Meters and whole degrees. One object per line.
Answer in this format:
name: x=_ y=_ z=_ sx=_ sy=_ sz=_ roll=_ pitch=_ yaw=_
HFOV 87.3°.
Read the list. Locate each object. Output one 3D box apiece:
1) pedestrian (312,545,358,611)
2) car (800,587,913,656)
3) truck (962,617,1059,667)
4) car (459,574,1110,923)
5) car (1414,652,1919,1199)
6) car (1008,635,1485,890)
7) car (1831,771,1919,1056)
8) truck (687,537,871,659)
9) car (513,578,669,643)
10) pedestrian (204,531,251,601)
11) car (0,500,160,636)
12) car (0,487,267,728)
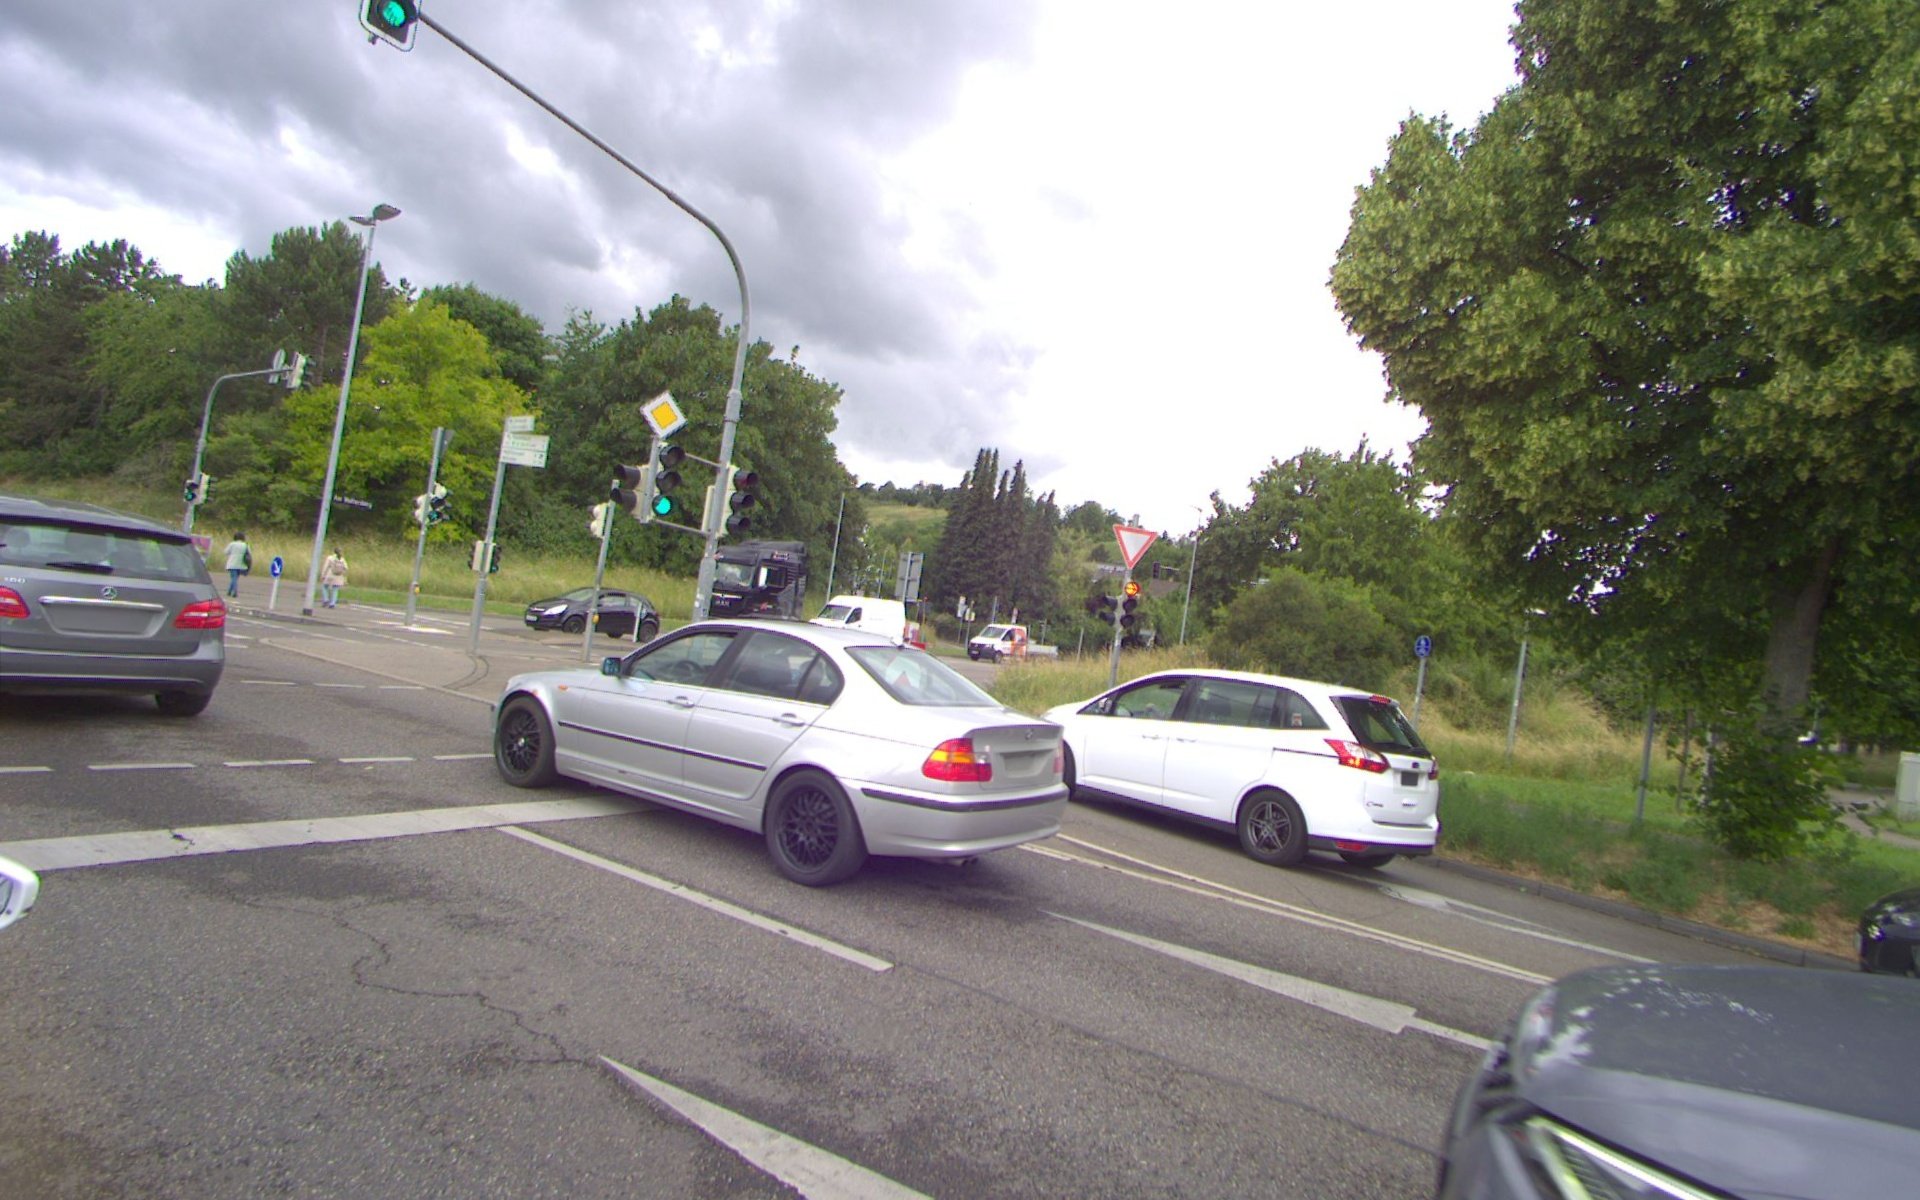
pedestrian: x=-16.482 y=-0.589 z=26.536 sx=0.703 sy=1.630 sz=0.644 roll=6 pitch=-1 yaw=37
car: x=-4.947 y=1.110 z=48.954 sx=1.968 sy=2.660 sz=5.814 roll=6 pitch=-2 yaw=34
truck: x=3.077 y=2.540 z=59.998 sx=6.008 sy=2.255 sz=2.135 roll=9 pitch=-3 yaw=-44
car: x=-1.331 y=0.813 z=6.959 sx=4.219 sy=1.398 sz=1.750 roll=7 pitch=-2 yaw=32
car: x=2.665 y=1.125 z=1.148 sx=3.774 sy=1.511 sz=1.627 roll=8 pitch=-1 yaw=32
car: x=2.632 y=1.473 z=10.226 sx=1.751 sy=1.673 sz=4.326 roll=10 pitch=-3 yaw=-37
car: x=7.124 y=2.011 z=5.379 sx=3.511 sy=1.524 sz=1.603 roll=6 pitch=-2 yaw=38
truck: x=-6.211 y=0.036 z=35.432 sx=2.648 sy=3.527 sz=6.004 roll=6 pitch=-1 yaw=34
car: x=-10.520 y=0.341 z=28.958 sx=1.669 sy=1.353 sz=3.882 roll=6 pitch=-3 yaw=34
pedestrian: x=-18.723 y=-0.862 z=25.726 sx=0.703 sy=1.681 sz=0.644 roll=6 pitch=-1 yaw=38
car: x=-13.124 y=-0.581 z=13.917 sx=4.283 sy=1.502 sz=1.750 roll=8 pitch=-1 yaw=32
car: x=-7.455 y=-0.078 z=7.911 sx=3.934 sy=1.525 sz=1.750 roll=7 pitch=-2 yaw=32
